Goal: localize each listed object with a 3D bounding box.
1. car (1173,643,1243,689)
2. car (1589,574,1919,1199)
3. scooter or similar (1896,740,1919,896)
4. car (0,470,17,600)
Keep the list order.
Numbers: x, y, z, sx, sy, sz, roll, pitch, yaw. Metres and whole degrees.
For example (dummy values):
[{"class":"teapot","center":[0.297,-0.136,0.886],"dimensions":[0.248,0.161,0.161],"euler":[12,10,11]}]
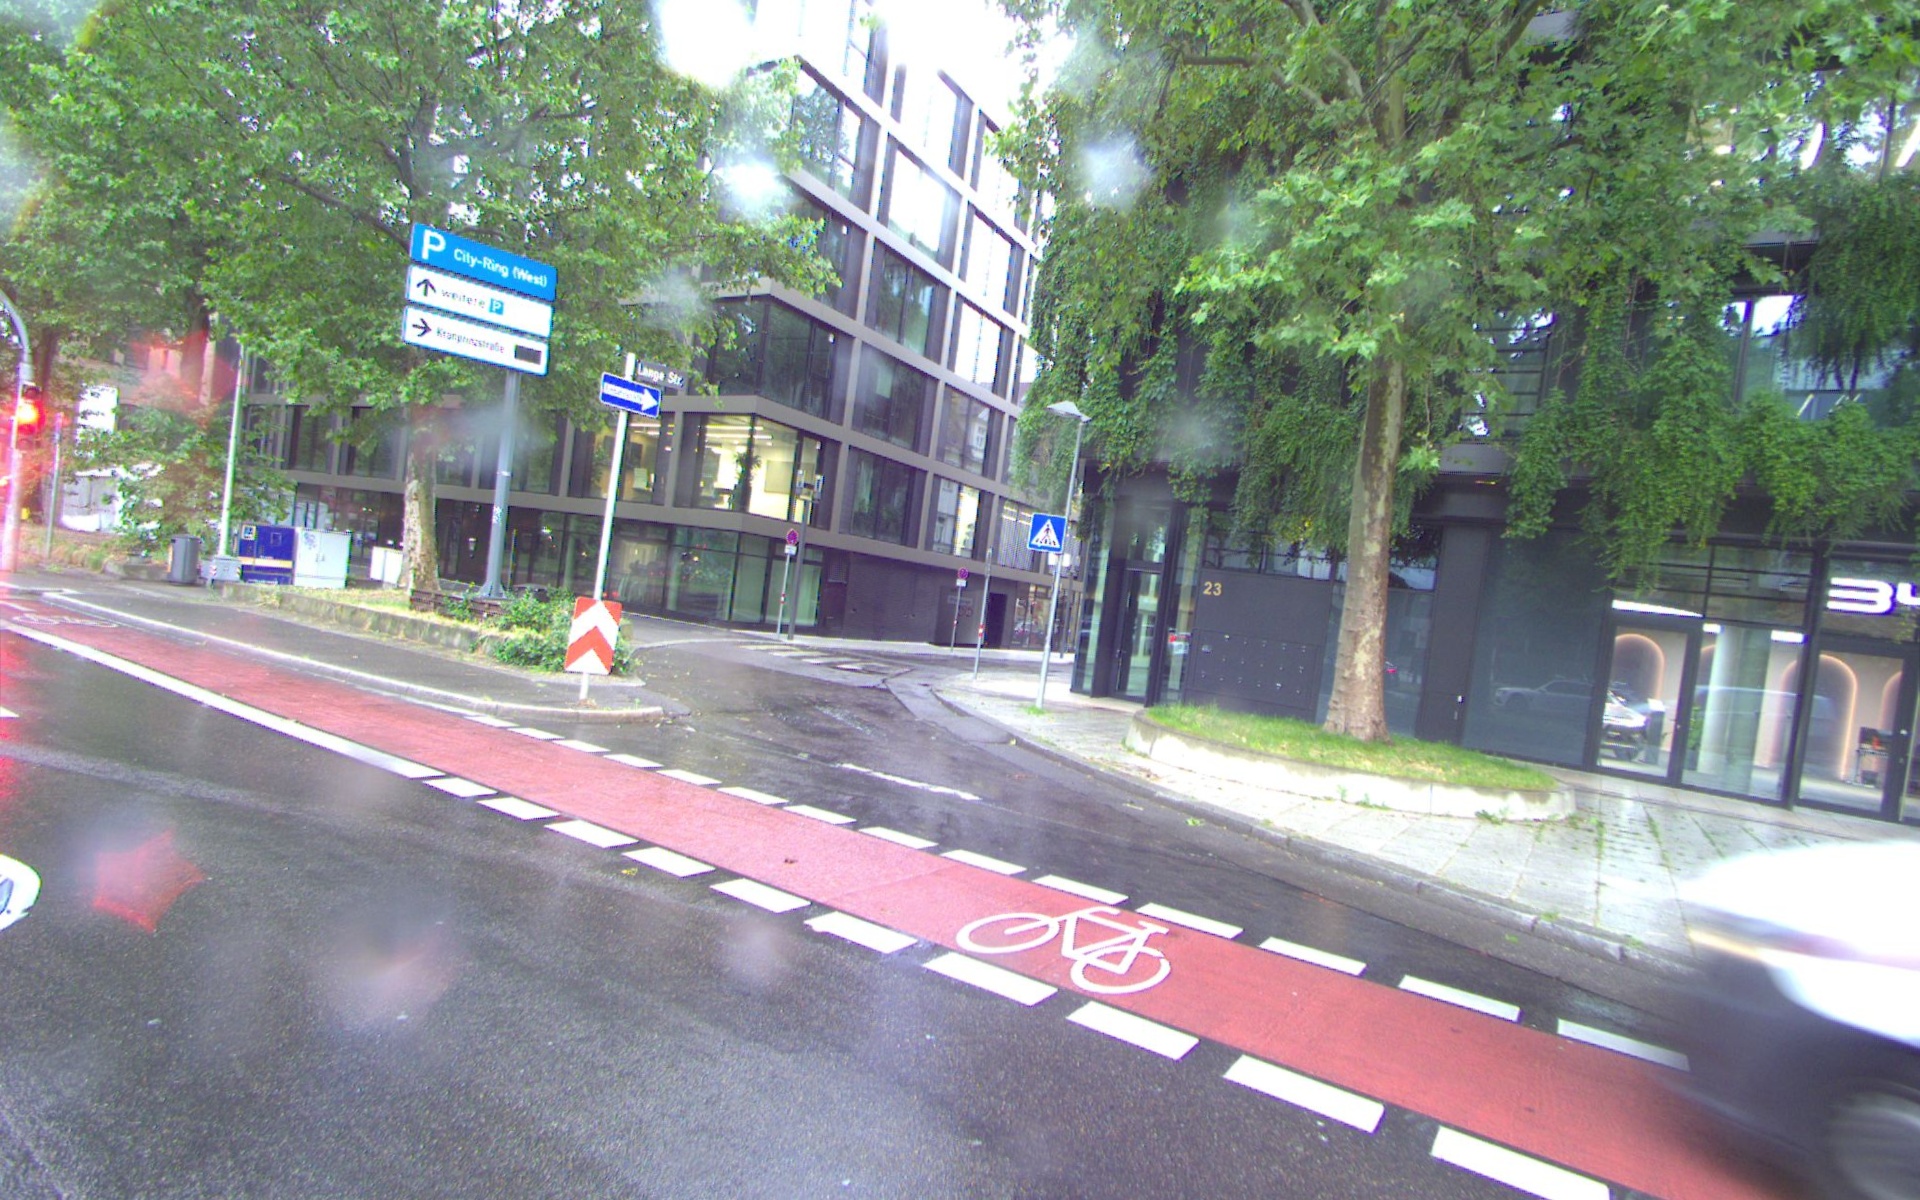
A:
[{"class":"car","center":[10.879,2.905,44.001],"dimensions":[1.814,1.607,3.997],"euler":[6,-2,30]},{"class":"car","center":[4.483,1.133,2.068],"dimensions":[1.909,1.969,4.916],"euler":[8,-1,-36]},{"class":"scooter or similar","center":[8.474,1.880,8.118],"dimensions":[0.528,1.297,1.184],"euler":[7,-1,-8]},{"class":"car","center":[-12.183,-0.752,10.865],"dimensions":[3.935,1.717,1.881],"euler":[6,-2,33]}]
